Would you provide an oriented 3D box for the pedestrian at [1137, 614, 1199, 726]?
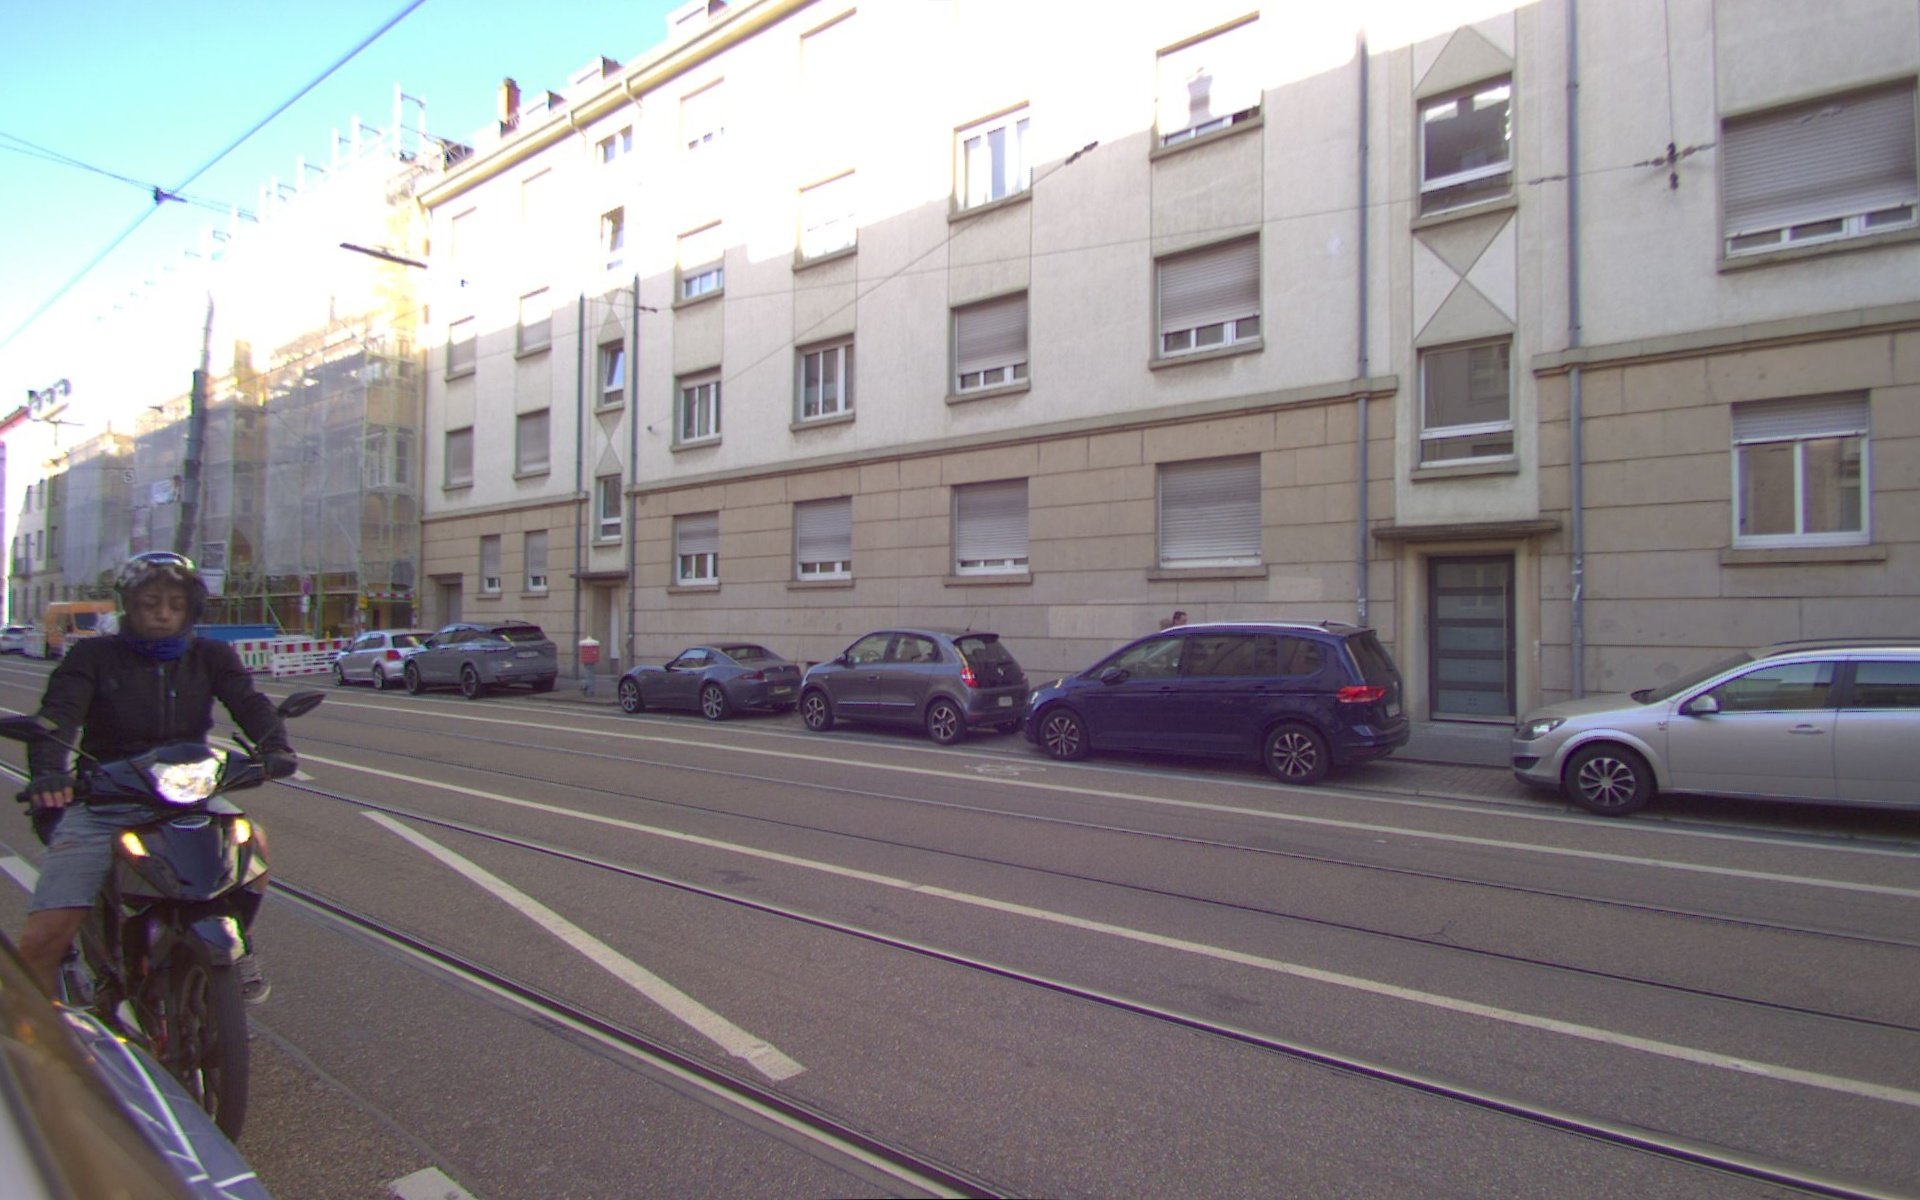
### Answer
[{"bbox_3d":[2.988,0.985,14.542,0.693,1.553,0.563,-2,-3,39],"label":"pedestrian"}]

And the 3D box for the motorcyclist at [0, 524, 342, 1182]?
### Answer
[{"bbox_3d":[-2.538,0.658,3.155,0.899,1.668,0.781,-2,-3,41],"label":"motorcyclist"}]

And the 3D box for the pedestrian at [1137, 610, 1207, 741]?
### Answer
[{"bbox_3d":[2.880,1.007,13.759,0.729,1.722,0.597,-2,-3,39],"label":"pedestrian"}]

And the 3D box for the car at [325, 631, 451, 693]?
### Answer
[{"bbox_3d":[-14.381,1.501,25.391,3.506,1.423,1.524,-1,-1,38],"label":"car"}]

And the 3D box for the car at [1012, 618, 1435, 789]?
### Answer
[{"bbox_3d":[2.897,1.035,11.671,4.383,1.611,1.779,-1,-1,38],"label":"car"}]

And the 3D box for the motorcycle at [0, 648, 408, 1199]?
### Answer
[{"bbox_3d":[-2.635,0.819,3.232,2.272,1.302,0.781,-2,-3,41],"label":"motorcycle"}]

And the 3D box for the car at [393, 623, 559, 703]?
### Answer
[{"bbox_3d":[-10.879,1.337,22.654,4.201,1.611,1.675,-1,-1,38],"label":"car"}]

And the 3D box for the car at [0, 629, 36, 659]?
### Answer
[{"bbox_3d":[-50.064,2.275,53.333,3.964,1.498,1.662,-2,-1,42],"label":"car"}]

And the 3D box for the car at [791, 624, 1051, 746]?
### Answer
[{"bbox_3d":[-0.624,1.135,14.650,3.535,1.539,1.659,-1,-1,38],"label":"car"}]

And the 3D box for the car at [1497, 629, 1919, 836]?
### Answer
[{"bbox_3d":[7.130,1.005,8.497,4.383,1.489,1.779,-1,-1,38],"label":"car"}]

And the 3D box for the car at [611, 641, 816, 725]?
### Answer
[{"bbox_3d":[-4.310,1.369,17.495,3.681,1.244,1.502,-1,-1,38],"label":"car"}]

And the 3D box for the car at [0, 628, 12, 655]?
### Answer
[{"bbox_3d":[-54.580,2.330,56.809,3.964,1.498,1.662,-2,-1,42],"label":"car"}]
